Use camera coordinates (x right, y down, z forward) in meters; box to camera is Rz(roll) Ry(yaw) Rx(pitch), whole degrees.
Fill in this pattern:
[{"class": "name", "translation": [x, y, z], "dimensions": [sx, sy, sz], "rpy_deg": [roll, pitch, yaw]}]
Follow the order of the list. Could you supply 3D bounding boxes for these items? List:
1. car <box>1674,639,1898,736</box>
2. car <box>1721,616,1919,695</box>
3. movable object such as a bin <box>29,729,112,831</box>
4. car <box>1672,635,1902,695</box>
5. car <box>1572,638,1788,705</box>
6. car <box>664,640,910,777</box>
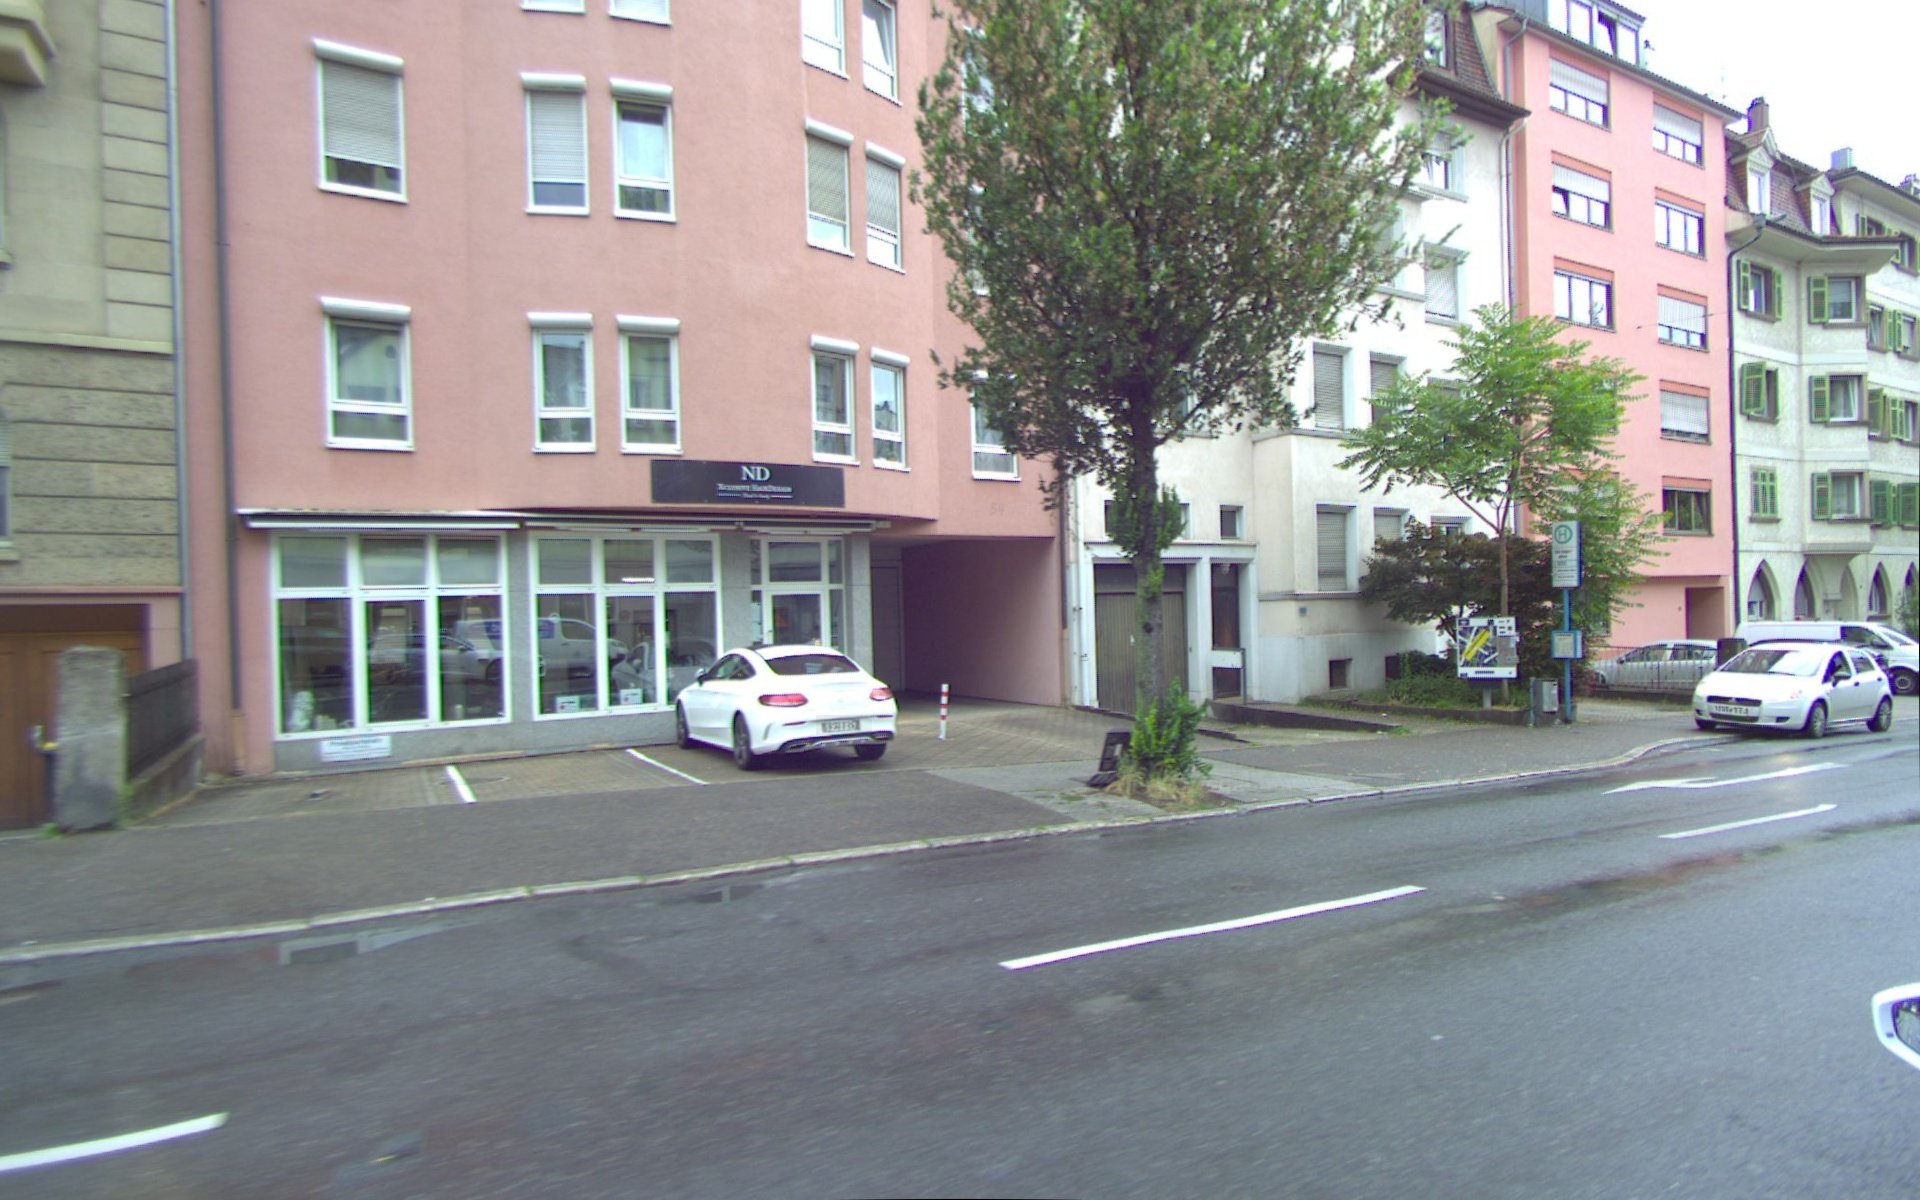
[{"class": "car", "translation": [14.125, 1.413, 17.141], "dimensions": [3.956, 1.465, 1.614], "rpy_deg": [1, -2, -29]}, {"class": "car", "translation": [24.484, 1.513, 27.975], "dimensions": [2.023, 1.999, 4.808], "rpy_deg": [1, -3, -29]}, {"class": "movable object such as a bin", "translation": [-9.831, 1.970, 11.113], "dimensions": [0.543, 1.010, 0.530], "rpy_deg": [1, 0, -24]}, {"class": "car", "translation": [21.920, 1.688, 26.829], "dimensions": [1.772, 1.470, 4.409], "rpy_deg": [1, -3, -31]}, {"class": "car", "translation": [17.230, 1.668, 24.192], "dimensions": [1.775, 1.476, 3.855], "rpy_deg": [1, -3, -36]}, {"class": "car", "translation": [-2.431, 1.259, 13.005], "dimensions": [1.746, 1.419, 4.528], "rpy_deg": [1, -3, -29]}]
